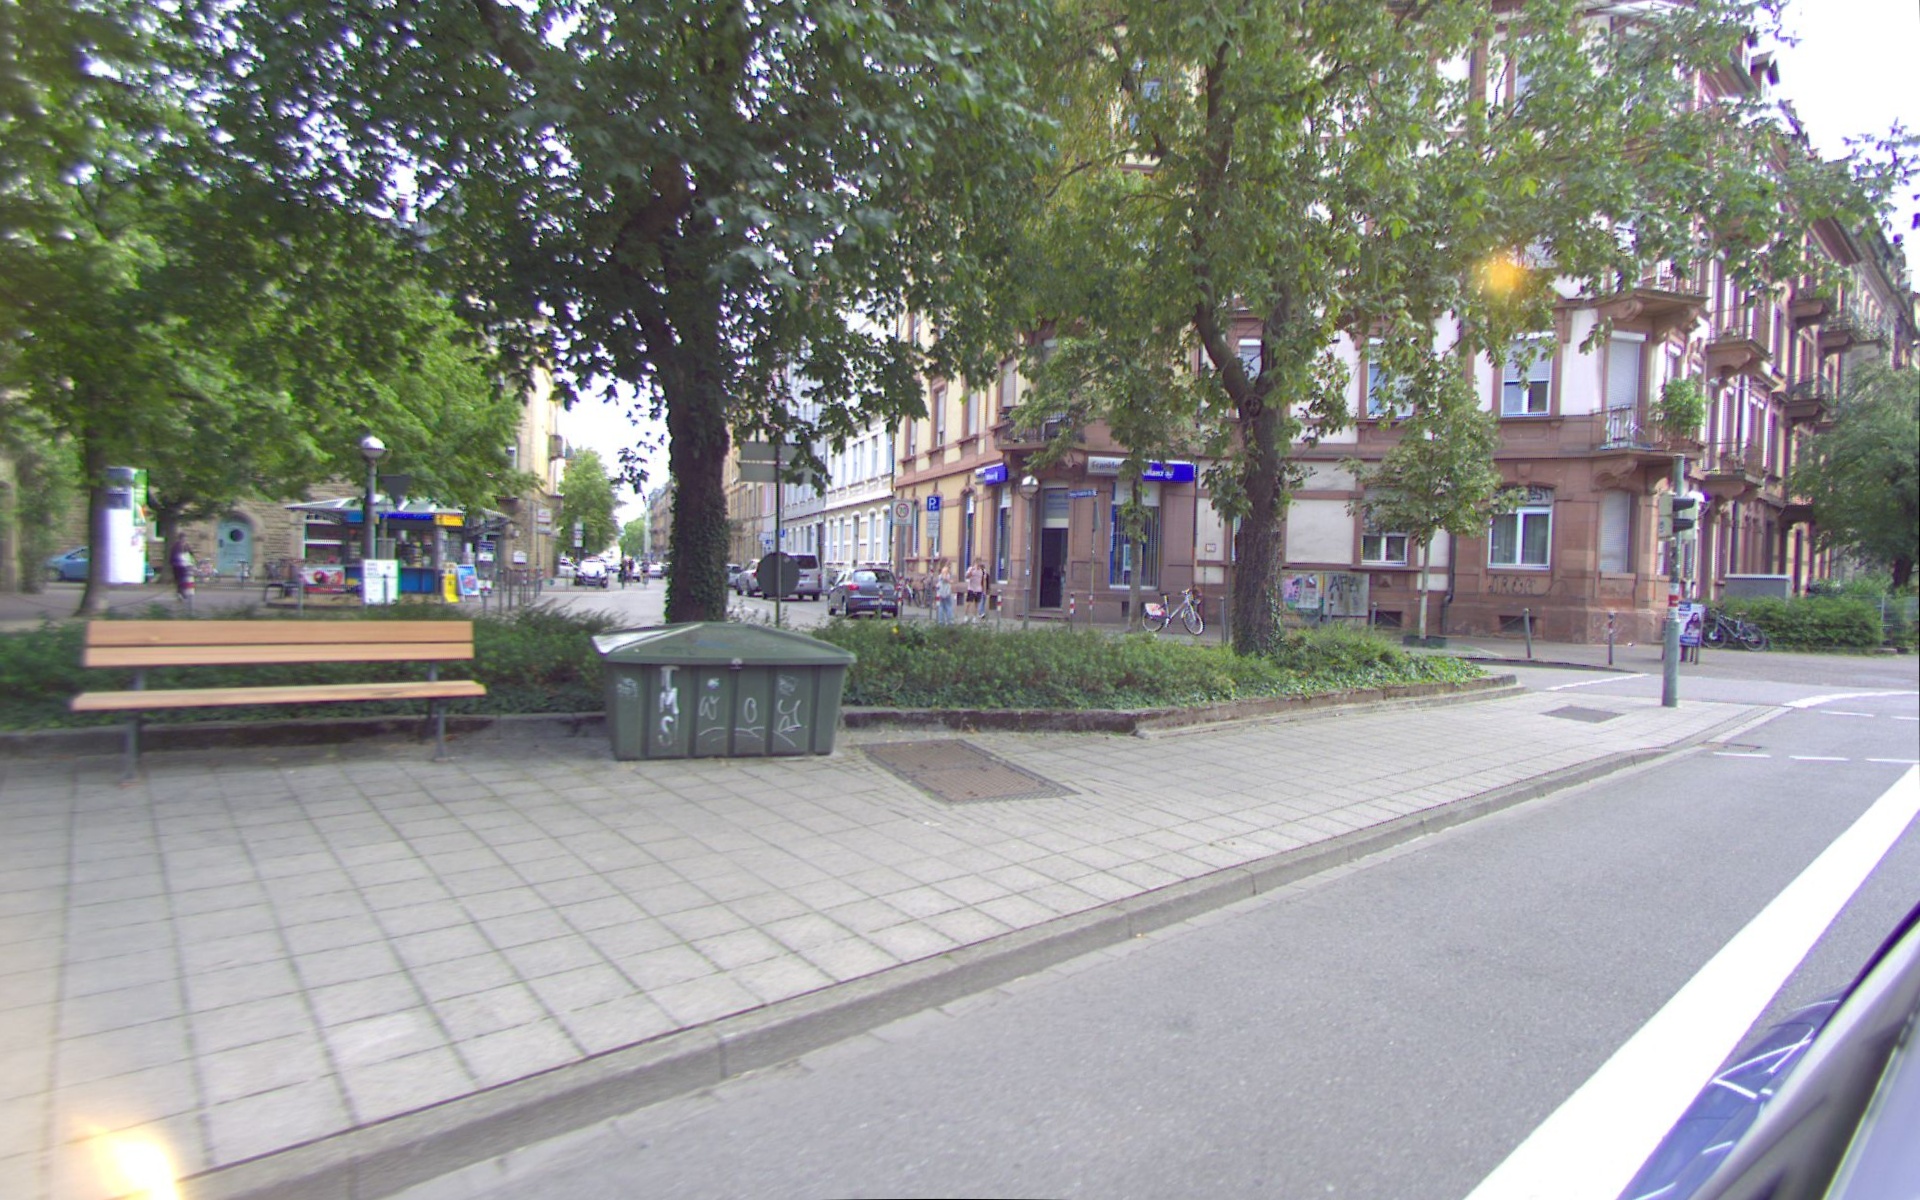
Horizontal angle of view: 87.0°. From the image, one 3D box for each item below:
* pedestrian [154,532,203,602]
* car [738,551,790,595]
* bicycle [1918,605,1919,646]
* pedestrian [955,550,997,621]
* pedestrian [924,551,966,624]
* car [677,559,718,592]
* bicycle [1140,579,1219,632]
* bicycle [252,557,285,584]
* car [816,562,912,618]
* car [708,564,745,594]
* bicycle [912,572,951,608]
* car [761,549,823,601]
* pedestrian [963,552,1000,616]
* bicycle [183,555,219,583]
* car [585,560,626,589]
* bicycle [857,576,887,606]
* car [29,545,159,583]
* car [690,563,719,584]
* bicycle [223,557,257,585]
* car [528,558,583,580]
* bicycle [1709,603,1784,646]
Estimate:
[{"bbox_3d":[-18.956,-0.800,24.559,0.717,1.643,0.837,1,1,-21],"label":"pedestrian"},{"bbox_3d":[-9.333,-1.287,47.946,1.780,1.967,4.165,1,2,-20],"label":"car"},{"bbox_3d":[26.356,0.686,27.218,1.643,1.120,0.672,1,2,-41],"label":"bicycle"},{"bbox_3d":[0.396,-0.389,25.812,0.741,1.750,0.896,2,2,-17],"label":"pedestrian"},{"bbox_3d":[-0.391,-0.312,25.178,0.875,1.750,0.734,2,2,-8],"label":"pedestrian"},{"bbox_3d":[-13.427,-1.266,51.616,1.780,1.542,4.010,1,2,-18],"label":"car"},{"bbox_3d":[5.144,0.112,23.722,1.665,1.158,0.663,3,2,41],"label":"bicycle"},{"bbox_3d":[-29.742,-1.269,43.540,0.595,1.130,1.903,2,2,-17],"label":"bicycle"},{"bbox_3d":[-2.844,-0.322,29.092,1.780,1.459,4.010,1,2,-20],"label":"car"},{"bbox_3d":[-14.700,-1.363,63.675,1.780,1.771,4.010,1,2,-20],"label":"car"},{"bbox_3d":[-0.997,-0.351,34.672,0.659,1.135,1.944,2,2,-22],"label":"bicycle"},{"bbox_3d":[-7.076,-1.064,42.402,1.829,2.005,4.010,1,2,-20],"label":"car"},{"bbox_3d":[0.607,-0.461,28.566,0.717,1.750,0.896,2,2,-17],"label":"pedestrian"},{"bbox_3d":[-32.003,-1.300,42.706,0.595,1.130,1.903,2,2,-17],"label":"bicycle"},{"bbox_3d":[-19.826,-1.449,56.542,1.958,1.538,4.009,1,1,-22],"label":"car"},{"bbox_3d":[-3.600,-0.371,41.193,0.659,1.135,1.944,2,2,-22],"label":"bicycle"},{"bbox_3d":[-35.312,-1.477,41.385,3.627,1.412,1.777,1,1,-20],"label":"car"},{"bbox_3d":[-20.082,-2.061,79.498,1.958,1.538,4.010,1,2,-18],"label":"car"},{"bbox_3d":[-30.878,-1.259,43.431,0.595,1.130,1.903,2,2,-17],"label":"bicycle"},{"bbox_3d":[-32.105,-2.476,80.490,3.915,1.538,2.005,1,1,-18],"label":"car"},{"bbox_3d":[19.339,0.608,24.887,1.518,0.981,0.511,2,1,-8],"label":"bicycle"}]
